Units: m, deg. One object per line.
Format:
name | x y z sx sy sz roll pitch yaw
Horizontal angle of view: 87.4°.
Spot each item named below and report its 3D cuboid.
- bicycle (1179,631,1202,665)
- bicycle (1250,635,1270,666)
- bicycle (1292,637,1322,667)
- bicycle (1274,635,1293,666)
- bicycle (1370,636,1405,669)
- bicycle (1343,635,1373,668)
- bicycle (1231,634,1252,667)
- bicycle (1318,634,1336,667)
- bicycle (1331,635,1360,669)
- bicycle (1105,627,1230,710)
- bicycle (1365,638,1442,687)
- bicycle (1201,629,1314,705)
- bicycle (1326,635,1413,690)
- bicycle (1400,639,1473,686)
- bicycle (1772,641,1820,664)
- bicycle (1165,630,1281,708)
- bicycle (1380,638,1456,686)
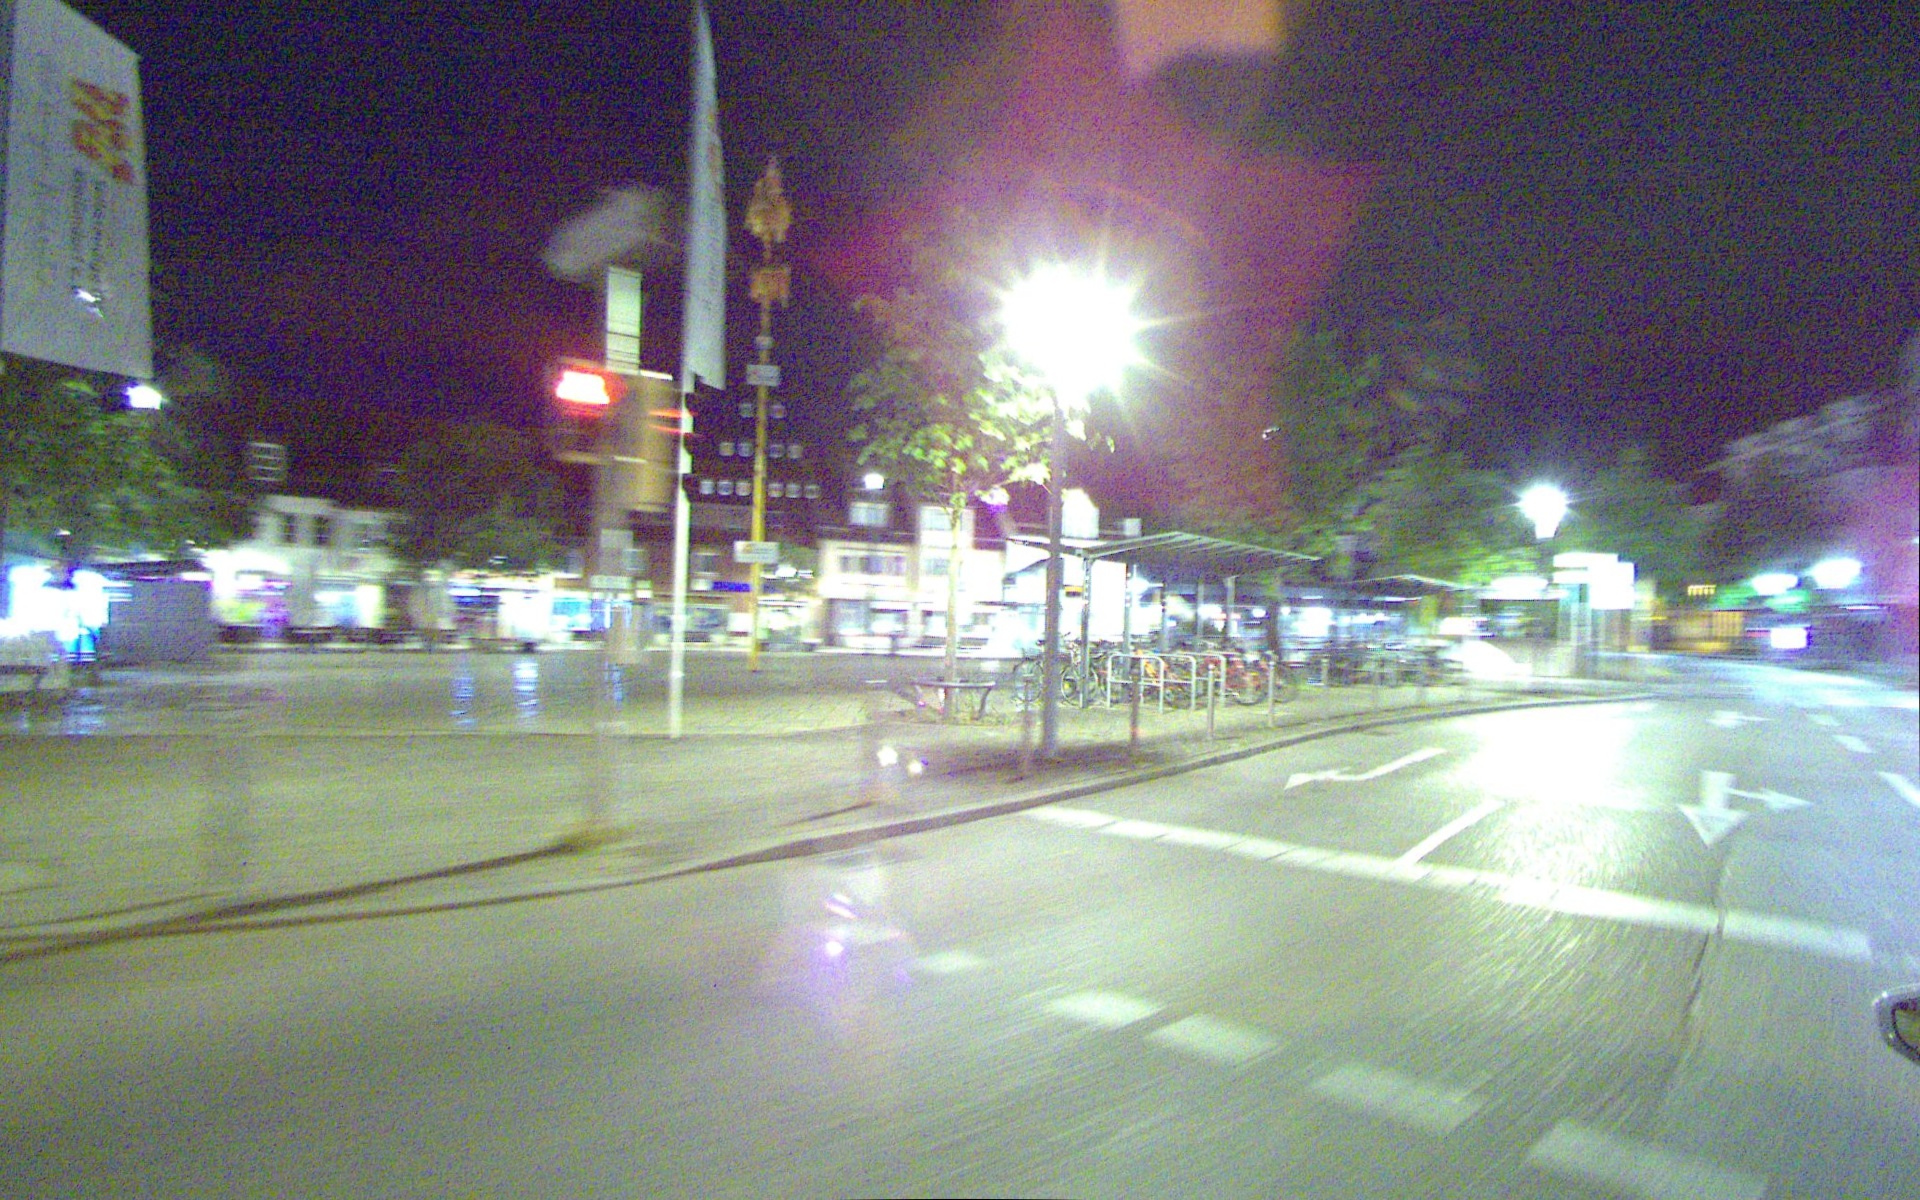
bicycle | 8.896 1.835 38.733 0.597 1.235 1.747 0 -1 21
bicycle | 11.524 1.923 38.558 0.597 1.115 1.747 0 -1 21
bicycle | 13.136 1.961 38.033 0.597 1.084 1.748 0 -1 3
bicycle | 12.315 1.909 38.175 0.597 1.140 1.747 0 -1 21
bicycle | 16.124 1.947 37.893 0.746 1.177 1.748 0 -1 7
bicycle | 14.920 1.918 37.676 0.596 1.181 1.748 0 -1 7
bicycle | 10.757 1.905 38.346 0.597 1.181 1.747 0 -1 21
bicycle | 14.058 1.928 38.495 0.597 1.181 1.747 0 -1 21
bicycle | 14.253 1.913 37.157 0.596 1.181 1.748 0 -1 7
bicycle | 3.371 1.088 16.427 1.814 1.172 0.782 3 0 44
bicycle | 10.851 1.520 24.618 1.596 1.120 0.667 0 -2 39
bicycle | 5.281 1.164 17.891 1.716 1.182 0.782 3 1 44
bicycle | 9.419 1.420 23.133 1.747 1.179 0.667 0 -2 39
bicycle | 12.294 1.600 25.932 1.596 1.120 0.667 1 -2 39
bicycle | 41.854 2.644 50.298 1.719 1.077 0.656 1 0 14
bicycle | 4.503 1.164 17.266 1.716 1.172 0.782 3 0 44
bicycle | 11.445 1.539 25.100 1.596 1.120 0.667 1 -2 39
